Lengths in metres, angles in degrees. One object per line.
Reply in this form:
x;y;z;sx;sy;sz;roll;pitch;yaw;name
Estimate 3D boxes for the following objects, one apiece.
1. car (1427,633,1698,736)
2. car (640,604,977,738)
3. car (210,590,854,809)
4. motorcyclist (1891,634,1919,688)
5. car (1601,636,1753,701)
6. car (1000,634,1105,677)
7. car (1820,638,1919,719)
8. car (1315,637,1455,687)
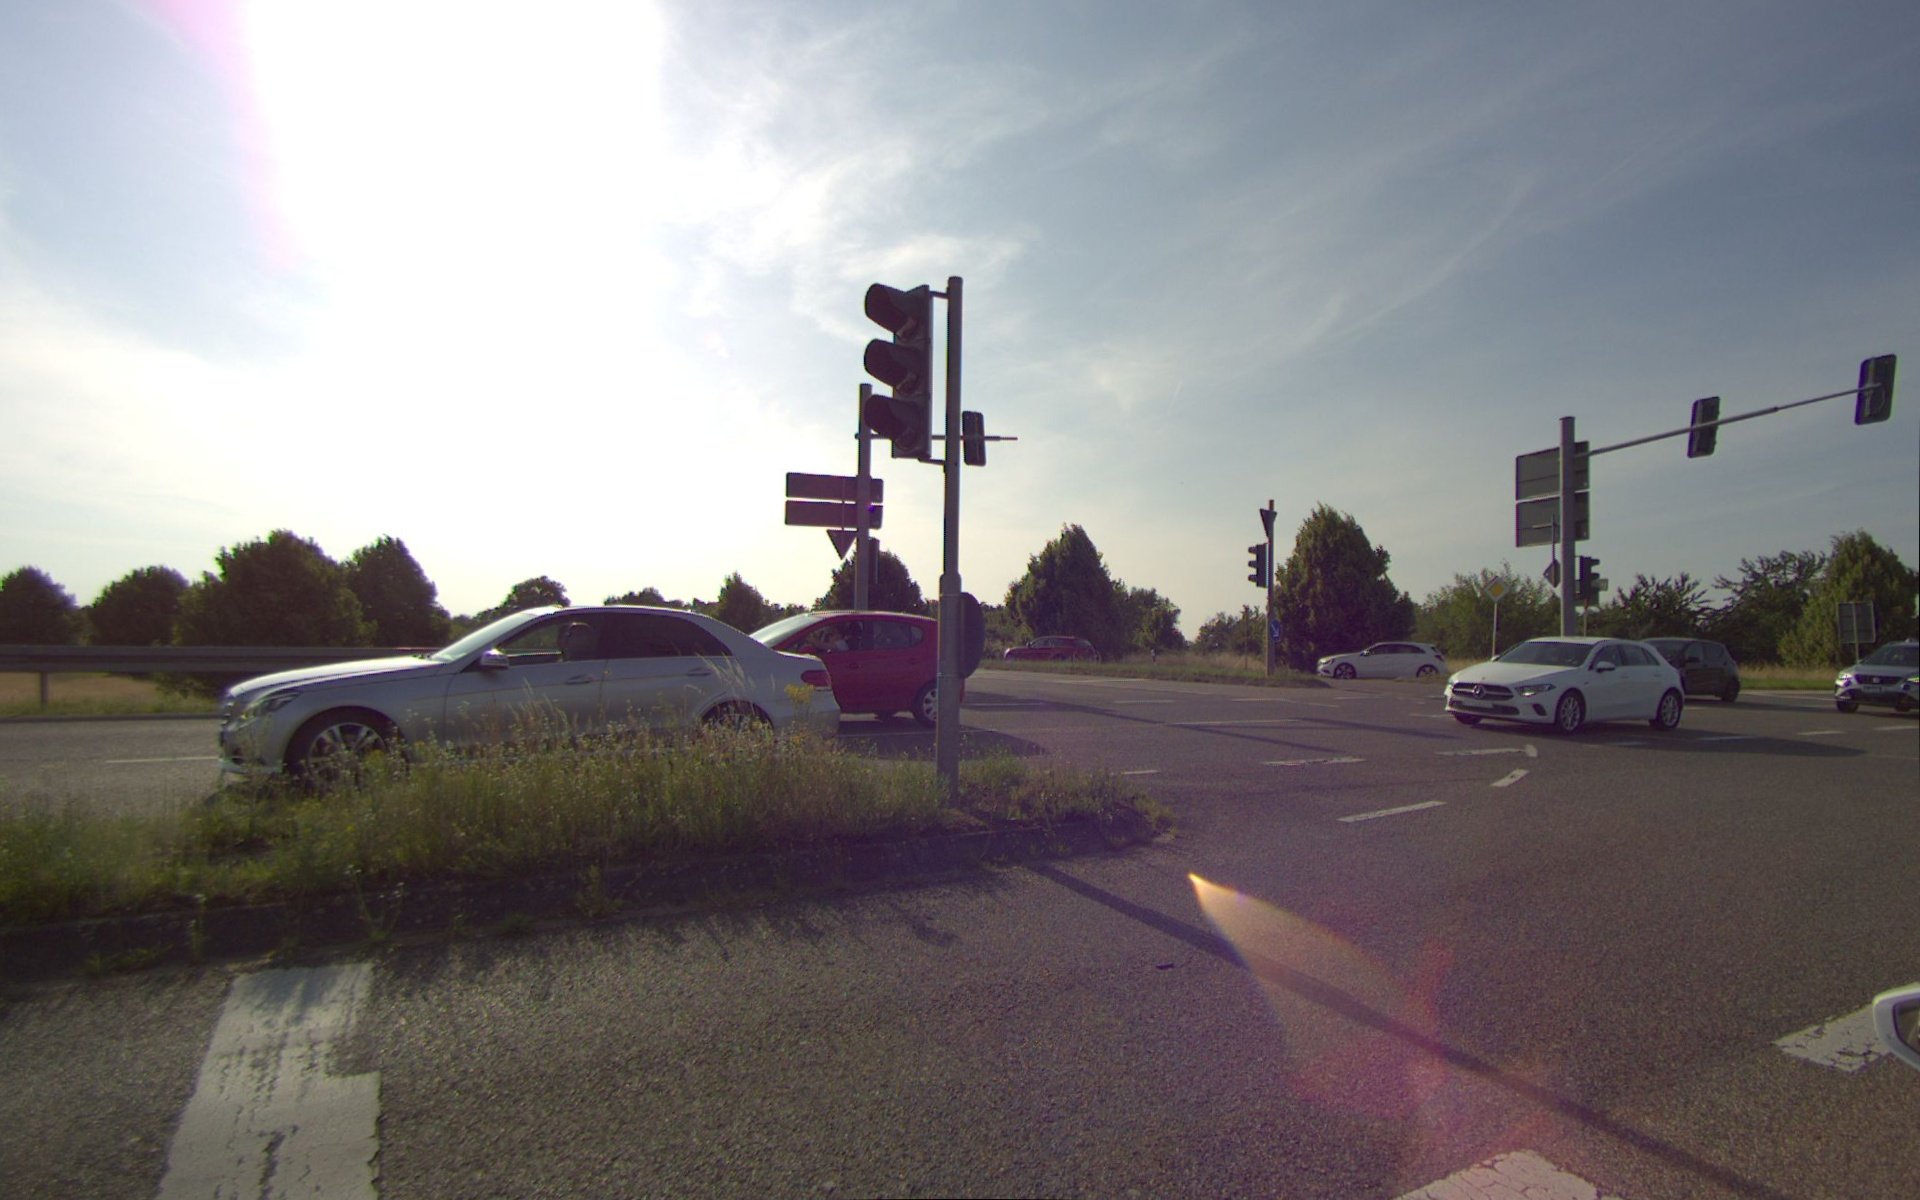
9.693;1.300;16.103;4.339;1.432;1.723;2;-1;-28;car
-1.886;0.877;12.985;3.980;1.486;1.650;3;-2;-33;car
-3.443;0.760;8.712;4.647;1.454;1.918;3;-2;-31;car
27.405;1.753;28.866;0.885;1.523;0.695;2;-1;-27;motorcyclist
17.340;1.634;24.277;3.478;1.431;1.679;2;-1;-29;car
3.860;2.291;42.141;4.073;1.607;1.915;0;-2;44;car
20.196;1.625;21.274;4.041;1.543;1.679;2;-1;-28;car
14.907;2.163;35.514;4.358;1.555;1.954;1;-1;17;car
